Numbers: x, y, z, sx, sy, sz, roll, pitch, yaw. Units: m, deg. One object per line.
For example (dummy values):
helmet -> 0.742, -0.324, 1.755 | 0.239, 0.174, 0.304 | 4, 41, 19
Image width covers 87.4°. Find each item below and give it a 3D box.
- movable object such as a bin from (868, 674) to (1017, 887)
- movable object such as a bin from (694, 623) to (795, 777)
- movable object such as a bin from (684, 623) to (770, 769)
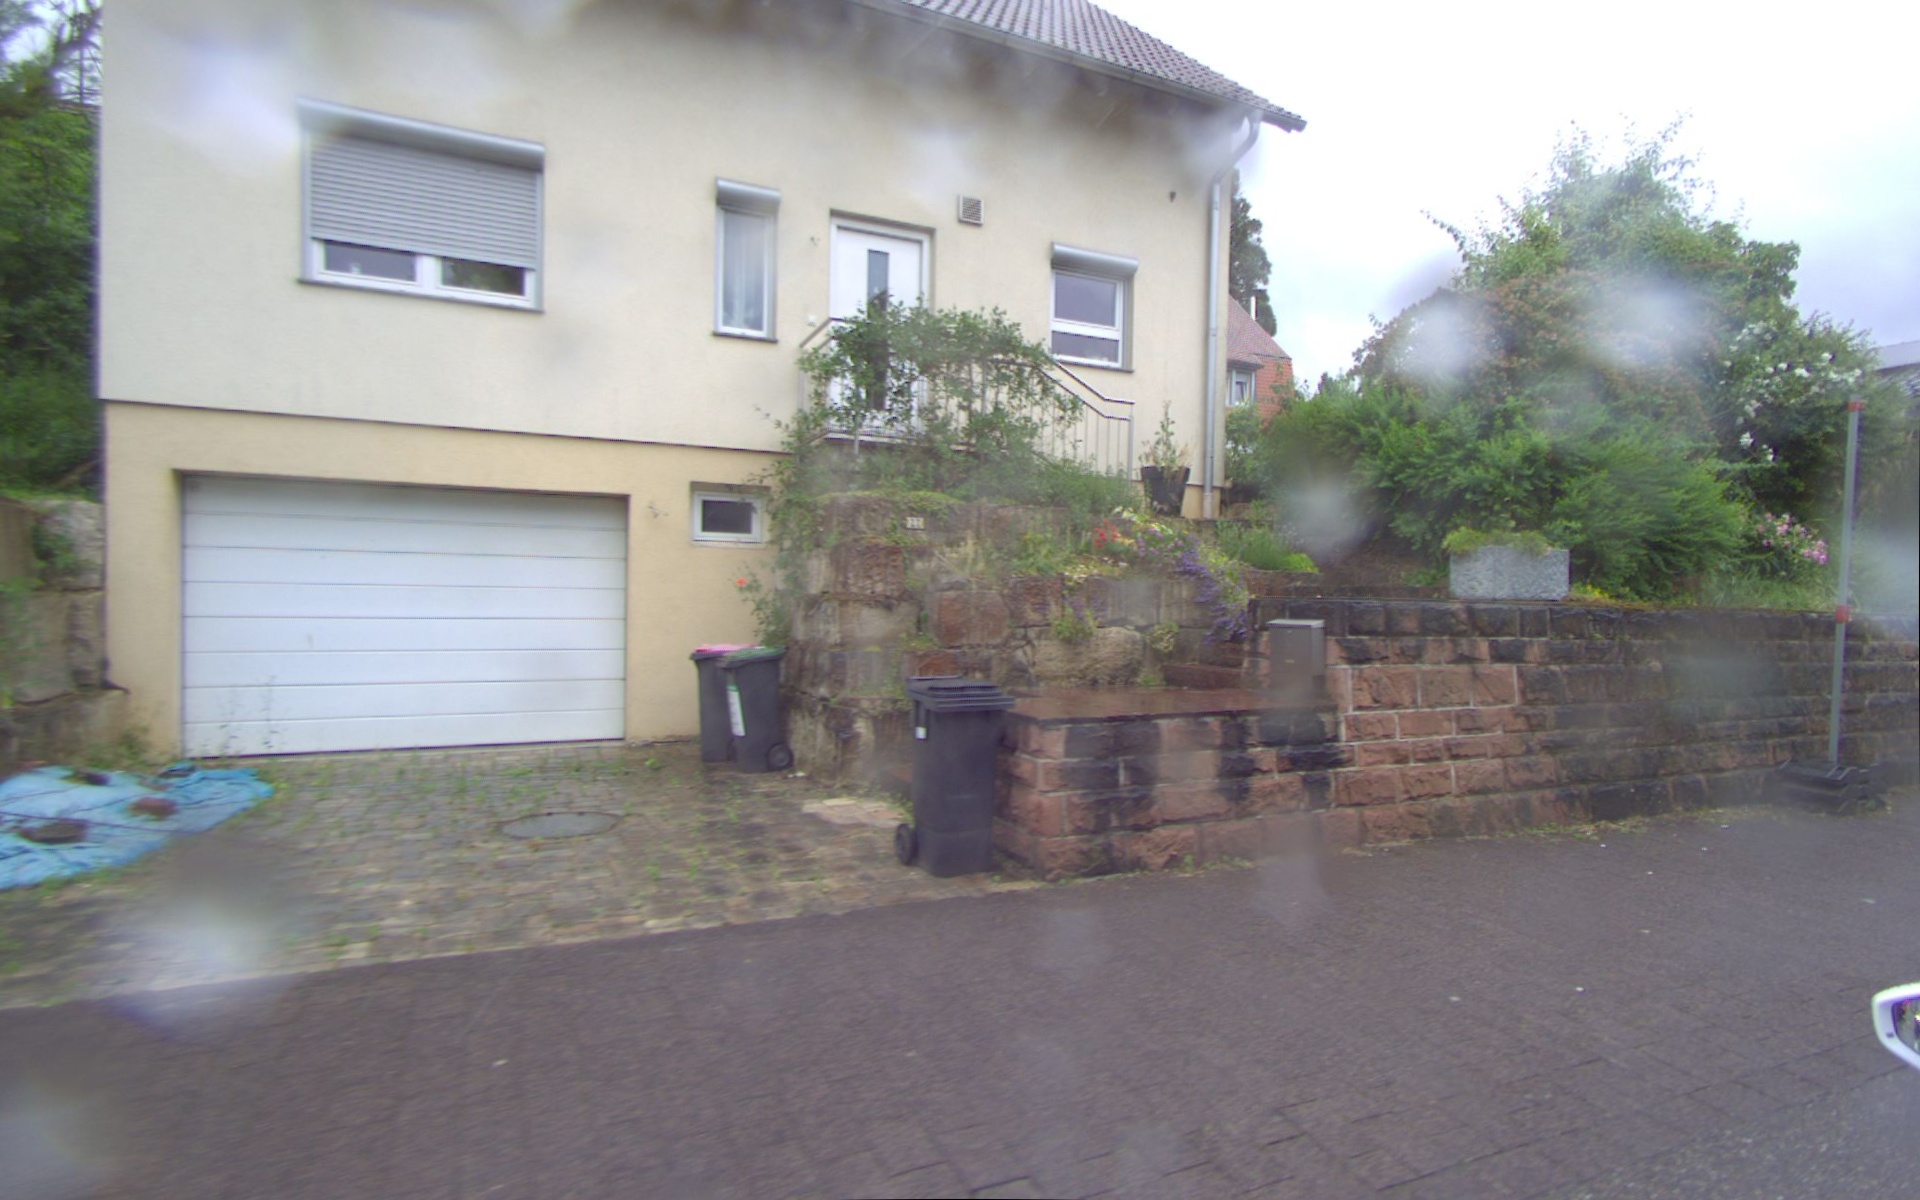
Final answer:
movable object such as a bin -> -0.098, 0.875, 5.068 | 0.537, 0.943, 0.536 | 2, 2, -27
movable object such as a bin -> -1.671, 0.744, 7.766 | 0.646, 1.077, 0.620 | -1, 3, -23
movable object such as a bin -> -1.952, 0.777, 8.375 | 0.640, 1.122, 0.606 | 0, 3, -19
